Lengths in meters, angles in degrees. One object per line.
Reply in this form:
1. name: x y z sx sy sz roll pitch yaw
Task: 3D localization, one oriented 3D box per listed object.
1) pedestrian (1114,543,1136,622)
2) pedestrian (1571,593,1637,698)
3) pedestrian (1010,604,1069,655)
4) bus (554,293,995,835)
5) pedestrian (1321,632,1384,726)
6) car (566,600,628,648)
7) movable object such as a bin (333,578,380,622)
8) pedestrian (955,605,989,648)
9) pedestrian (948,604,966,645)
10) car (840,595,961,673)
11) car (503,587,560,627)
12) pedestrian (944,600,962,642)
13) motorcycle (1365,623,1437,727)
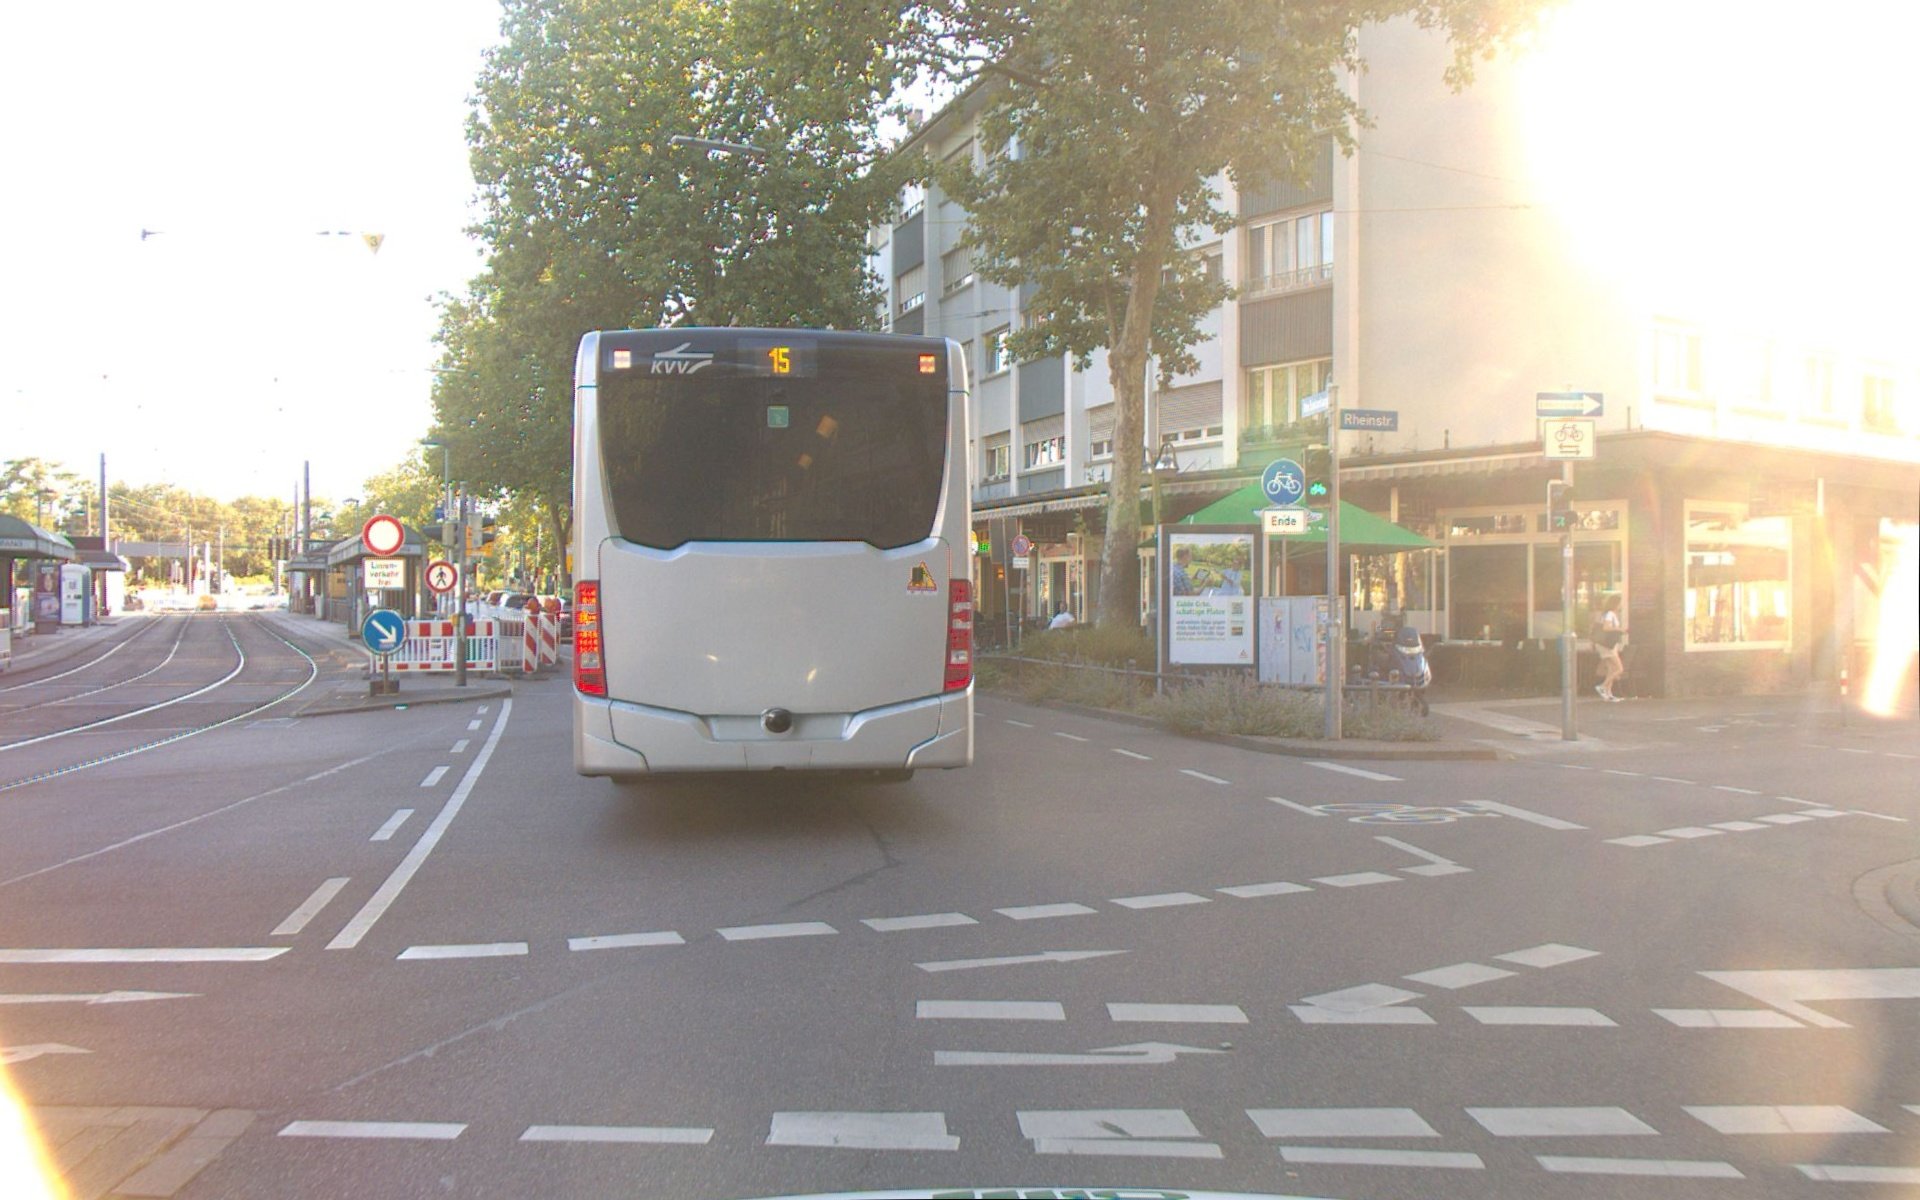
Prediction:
1. pedestrian: 3.694 -0.385 37.087 0.351 1.748 0.308 2 0 -13
2. pedestrian: 9.931 0.698 25.501 0.597 1.575 0.707 2 0 -37
3. pedestrian: 1.918 0.698 39.888 1.160 1.218 0.921 0 0 -20
4. bus: -1.869 -0.195 14.890 2.609 3.153 10.194 0 0 -9
5. pedestrian: 5.502 1.100 23.204 0.542 1.265 0.729 2 0 -18
6. car: -11.645 0.736 52.940 1.727 1.489 3.983 0 0 -16
7. movable object such as a bin: -35.366 -0.003 96.892 2.459 2.520 5.320 0 0 -22
8. pedestrian: 0.306 0.707 43.966 0.695 1.128 0.762 0 0 -20
9. pedestrian: -0.079 0.671 46.195 0.382 1.141 0.390 0 0 -21
10. car: -1.367 0.715 36.718 1.638 1.543 3.392 -3 2 -21
11. car: -16.692 0.251 64.280 1.731 1.489 3.975 0 0 -21
12. pedestrian: -0.197 0.590 46.638 0.386 1.195 0.386 0 0 -22
13. motorcycle: 5.308 0.883 19.984 0.558 1.178 1.461 2 0 5
